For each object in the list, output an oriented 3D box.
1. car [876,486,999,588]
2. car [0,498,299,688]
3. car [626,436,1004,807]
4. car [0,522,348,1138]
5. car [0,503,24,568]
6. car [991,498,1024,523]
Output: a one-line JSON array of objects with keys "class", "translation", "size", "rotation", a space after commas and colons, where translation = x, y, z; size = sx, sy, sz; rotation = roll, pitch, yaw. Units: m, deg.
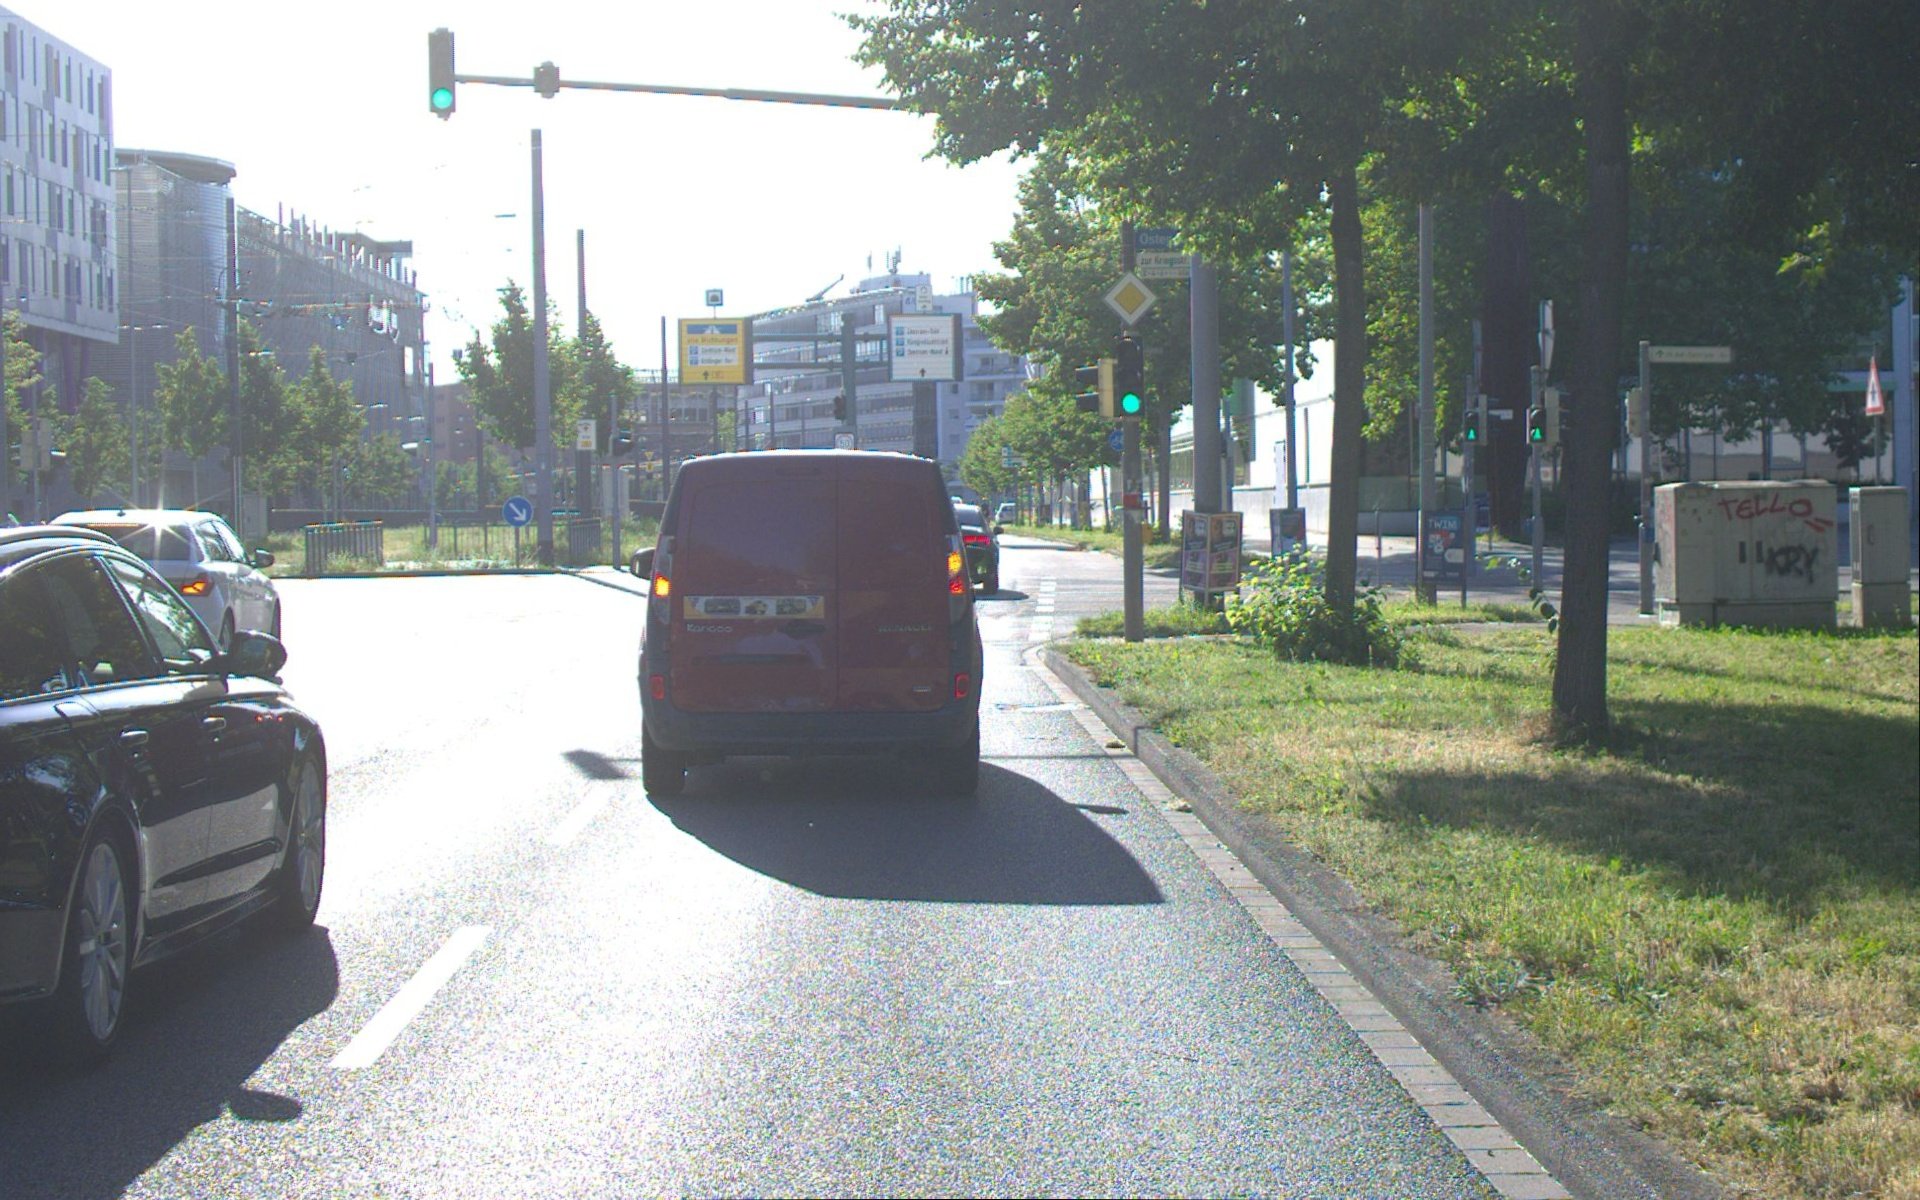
[{"class": "car", "translation": [-0.391, -1.022, 54.290], "size": [1.852, 1.541, 4.001], "rotation": [0, 2, -1]}, {"class": "car", "translation": [-6.556, -0.111, 28.020], "size": [1.671, 1.421, 4.006], "rotation": [1, 2, -2]}, {"class": "car", "translation": [-0.766, 0.049, 19.070], "size": [1.848, 1.808, 4.115], "rotation": [1, 2, -1]}, {"class": "car", "translation": [-3.171, 0.499, 10.254], "size": [1.812, 1.422, 4.690], "rotation": [1, 2, 0]}, {"class": "car", "translation": [-24.181, -1.531, 82.978], "size": [1.993, 1.556, 4.873], "rotation": [-1, 2, -2]}, {"class": "car", "translation": [3.103, -5.821, 223.362], "size": [1.852, 1.476, 4.855], "rotation": [-3, 2, -2]}]
